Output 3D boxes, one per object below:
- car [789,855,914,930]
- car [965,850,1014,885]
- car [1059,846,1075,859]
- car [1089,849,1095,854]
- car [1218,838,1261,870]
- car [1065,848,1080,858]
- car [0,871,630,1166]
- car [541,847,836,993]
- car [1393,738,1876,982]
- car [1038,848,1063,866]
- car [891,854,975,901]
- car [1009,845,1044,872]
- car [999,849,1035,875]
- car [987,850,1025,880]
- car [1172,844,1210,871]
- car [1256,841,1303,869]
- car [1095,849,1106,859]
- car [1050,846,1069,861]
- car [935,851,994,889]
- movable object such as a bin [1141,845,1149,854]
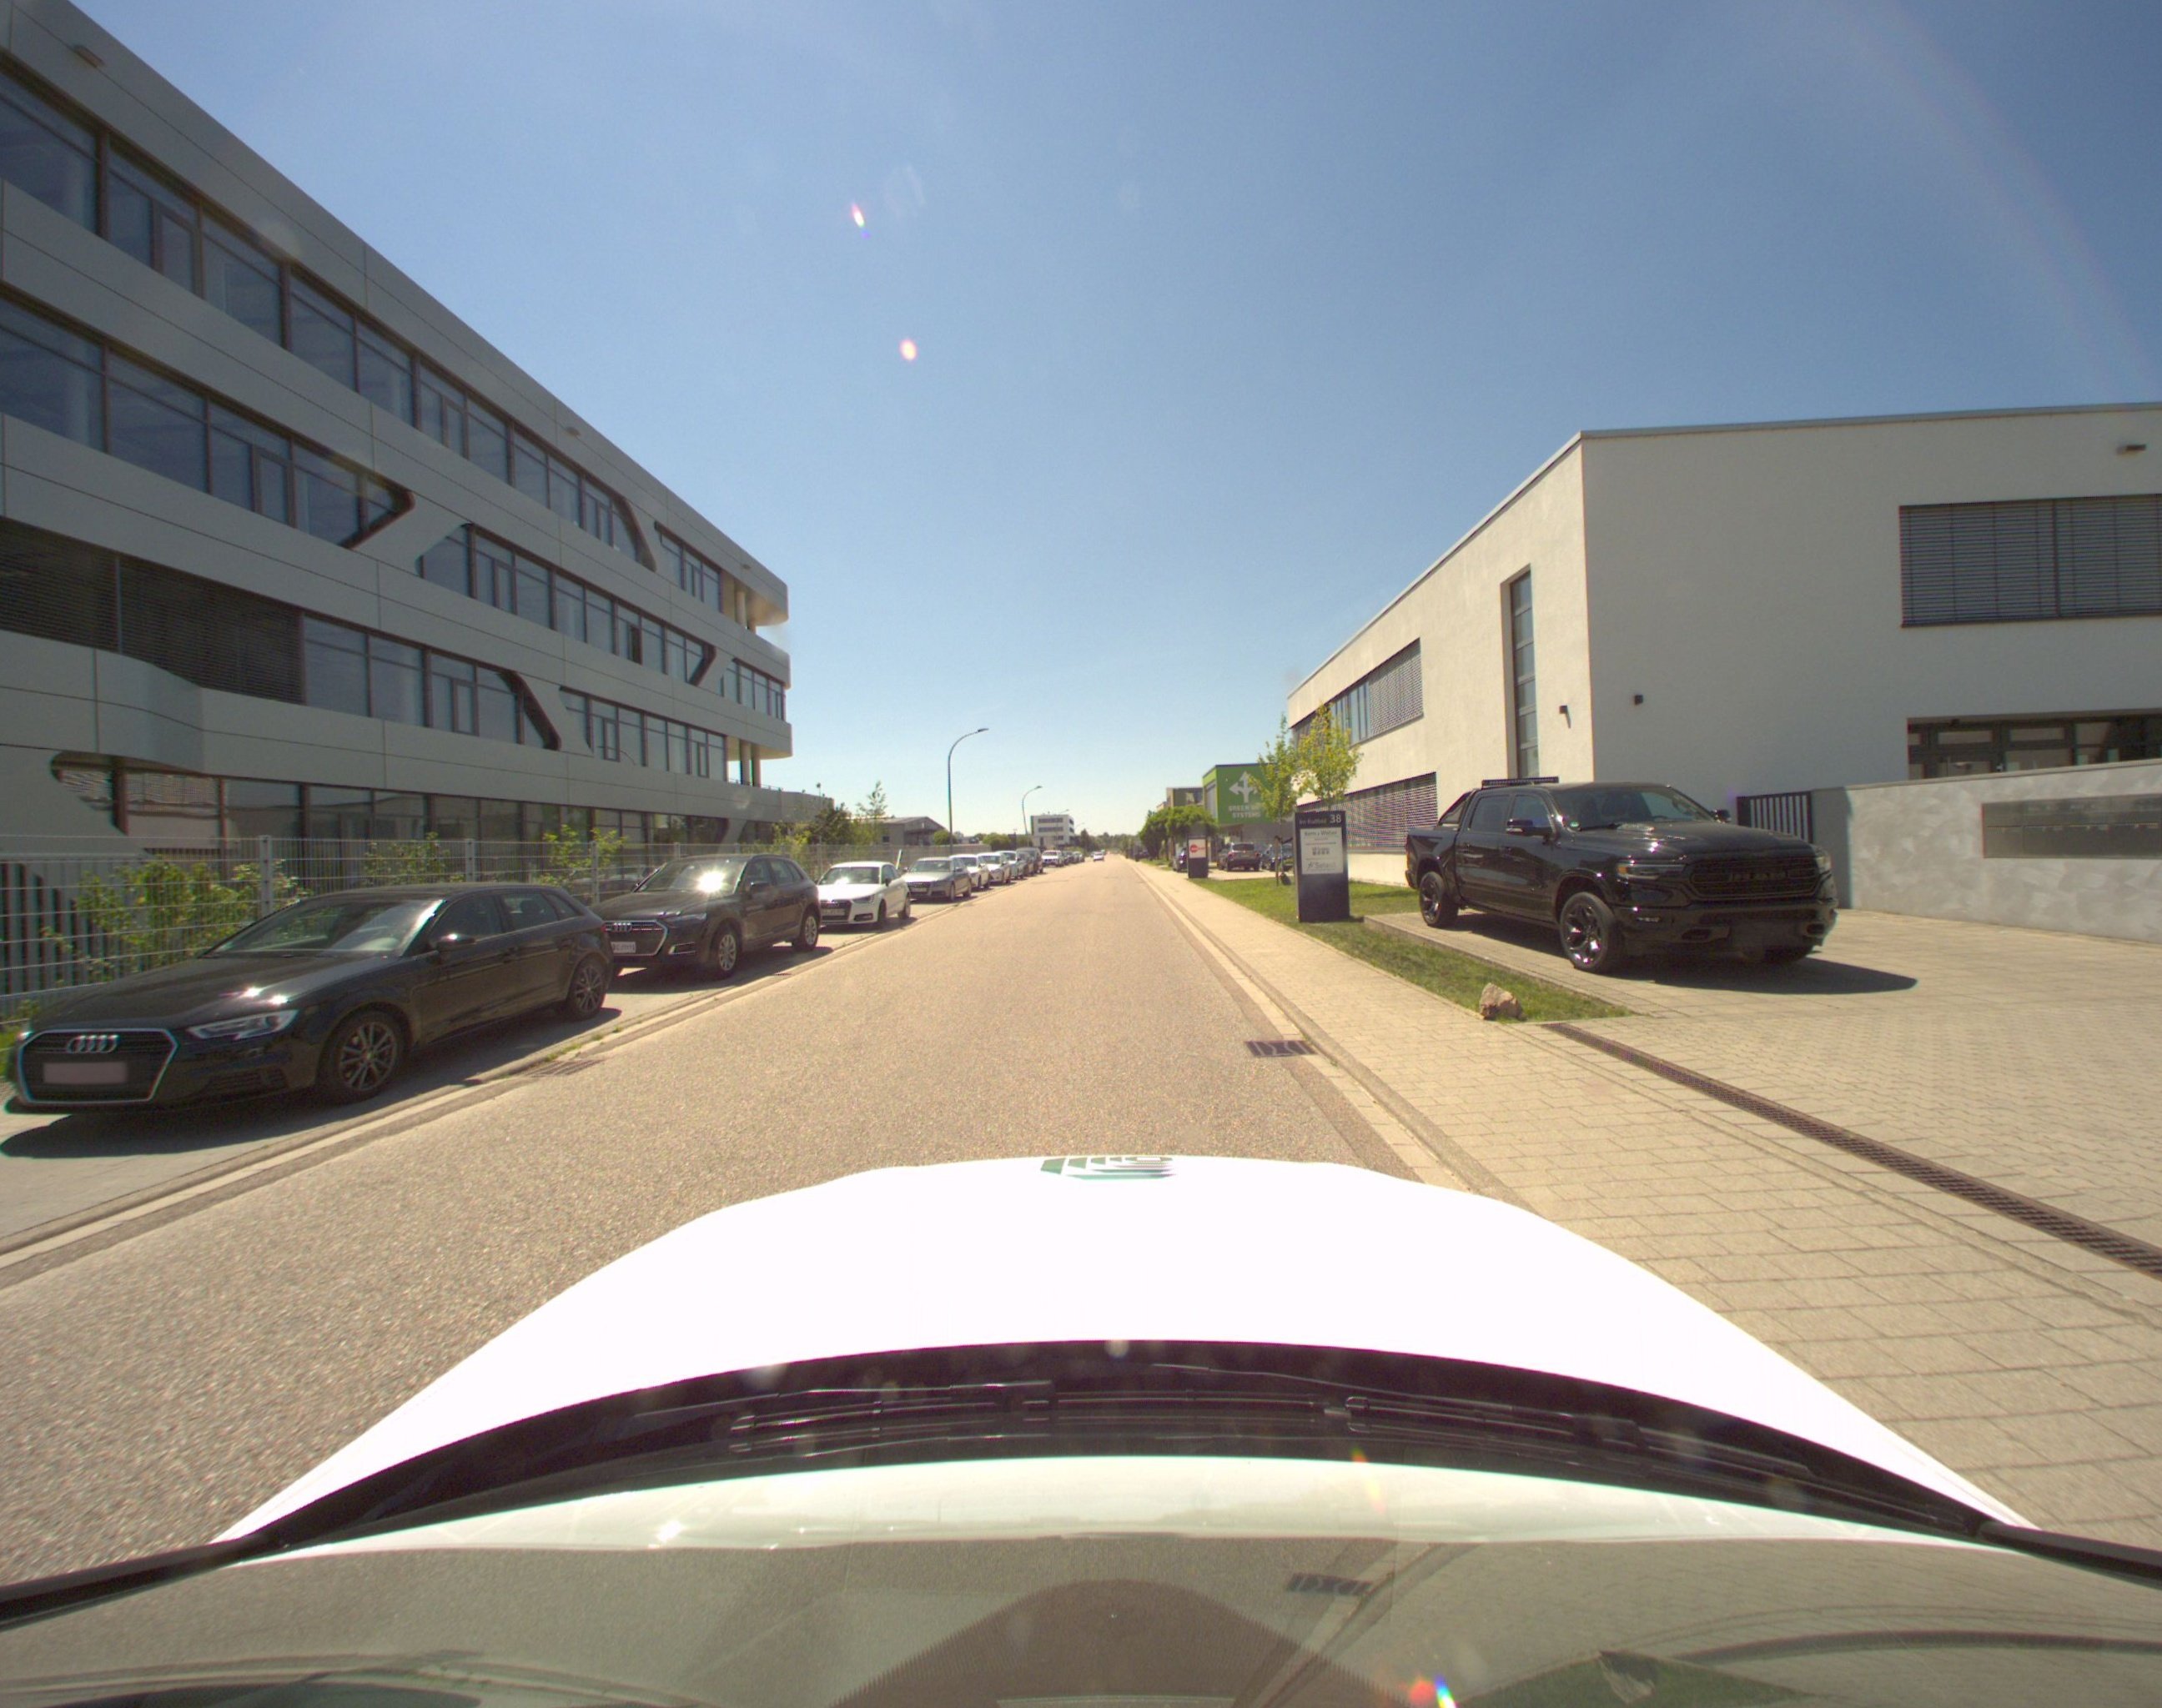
[{"bbox_3d":[-5.039,0.786,18.456,1.694,1.386,3.937,-2,1,-1],"label":"car"},{"bbox_3d":[-4.345,0.601,39.106,1.697,1.536,4.574,-1,1,1],"label":"car"},{"bbox_3d":[-1.717,-0.167,101.124,1.784,1.607,4.464,-1,0,1],"label":"car"},{"bbox_3d":[3.150,-0.685,231.786,1.461,1.489,3.209,-2,0,2],"label":"car"},{"bbox_3d":[8.769,-0.025,45.358,1.716,1.633,4.025,-1,1,2],"label":"car"},{"bbox_3d":[-1.226,-0.149,117.136,1.850,1.480,4.231,-1,0,2],"label":"car"},{"bbox_3d":[-5.807,0.990,6.735,1.764,1.466,4.186,-2,1,0],"label":"car"},{"bbox_3d":[-5.481,0.785,12.263,1.762,1.651,4.856,-2,1,4],"label":"car"},{"bbox_3d":[5.903,-0.078,9.933,1.987,2.013,5.802,-3,3,1],"label":"car"},{"bbox_3d":[-2.800,0.234,74.554,1.779,1.542,4.369,-2,0,4],"label":"car"},{"bbox_3d":[-4.810,0.724,27.111,1.677,1.386,4.642,-2,0,3],"label":"car"},{"bbox_3d":[-3.593,0.276,54.492,1.795,1.719,4.625,-1,1,2],"label":"car"},{"bbox_3d":[-3.857,0.466,49.772,1.628,1.500,3.975,-1,1,3],"label":"car"},{"bbox_3d":[-4.103,0.555,44.757,1.628,1.536,3.659,-1,1,1],"label":"car"},{"bbox_3d":[6.119,0.157,45.801,1.685,1.428,4.248,-1,1,2],"label":"car"},{"bbox_3d":[10.901,0.031,44.856,1.716,1.449,4.025,-1,1,2],"label":"car"},{"bbox_3d":[3.213,0.032,132.073,1.697,1.411,4.787,-4,0,2],"label":"car"},{"bbox_3d":[-2.325,-0.054,87.339,1.756,1.517,4.382,-1,0,2],"label":"car"},{"bbox_3d":[-4.762,0.609,33.801,1.697,1.443,4.441,-1,1,1],"label":"car"},{"bbox_3d":[11.165,-0.722,141.886,1.329,1.459,0.949,-3,0,1],"label":"movable object such as a bin"}]
